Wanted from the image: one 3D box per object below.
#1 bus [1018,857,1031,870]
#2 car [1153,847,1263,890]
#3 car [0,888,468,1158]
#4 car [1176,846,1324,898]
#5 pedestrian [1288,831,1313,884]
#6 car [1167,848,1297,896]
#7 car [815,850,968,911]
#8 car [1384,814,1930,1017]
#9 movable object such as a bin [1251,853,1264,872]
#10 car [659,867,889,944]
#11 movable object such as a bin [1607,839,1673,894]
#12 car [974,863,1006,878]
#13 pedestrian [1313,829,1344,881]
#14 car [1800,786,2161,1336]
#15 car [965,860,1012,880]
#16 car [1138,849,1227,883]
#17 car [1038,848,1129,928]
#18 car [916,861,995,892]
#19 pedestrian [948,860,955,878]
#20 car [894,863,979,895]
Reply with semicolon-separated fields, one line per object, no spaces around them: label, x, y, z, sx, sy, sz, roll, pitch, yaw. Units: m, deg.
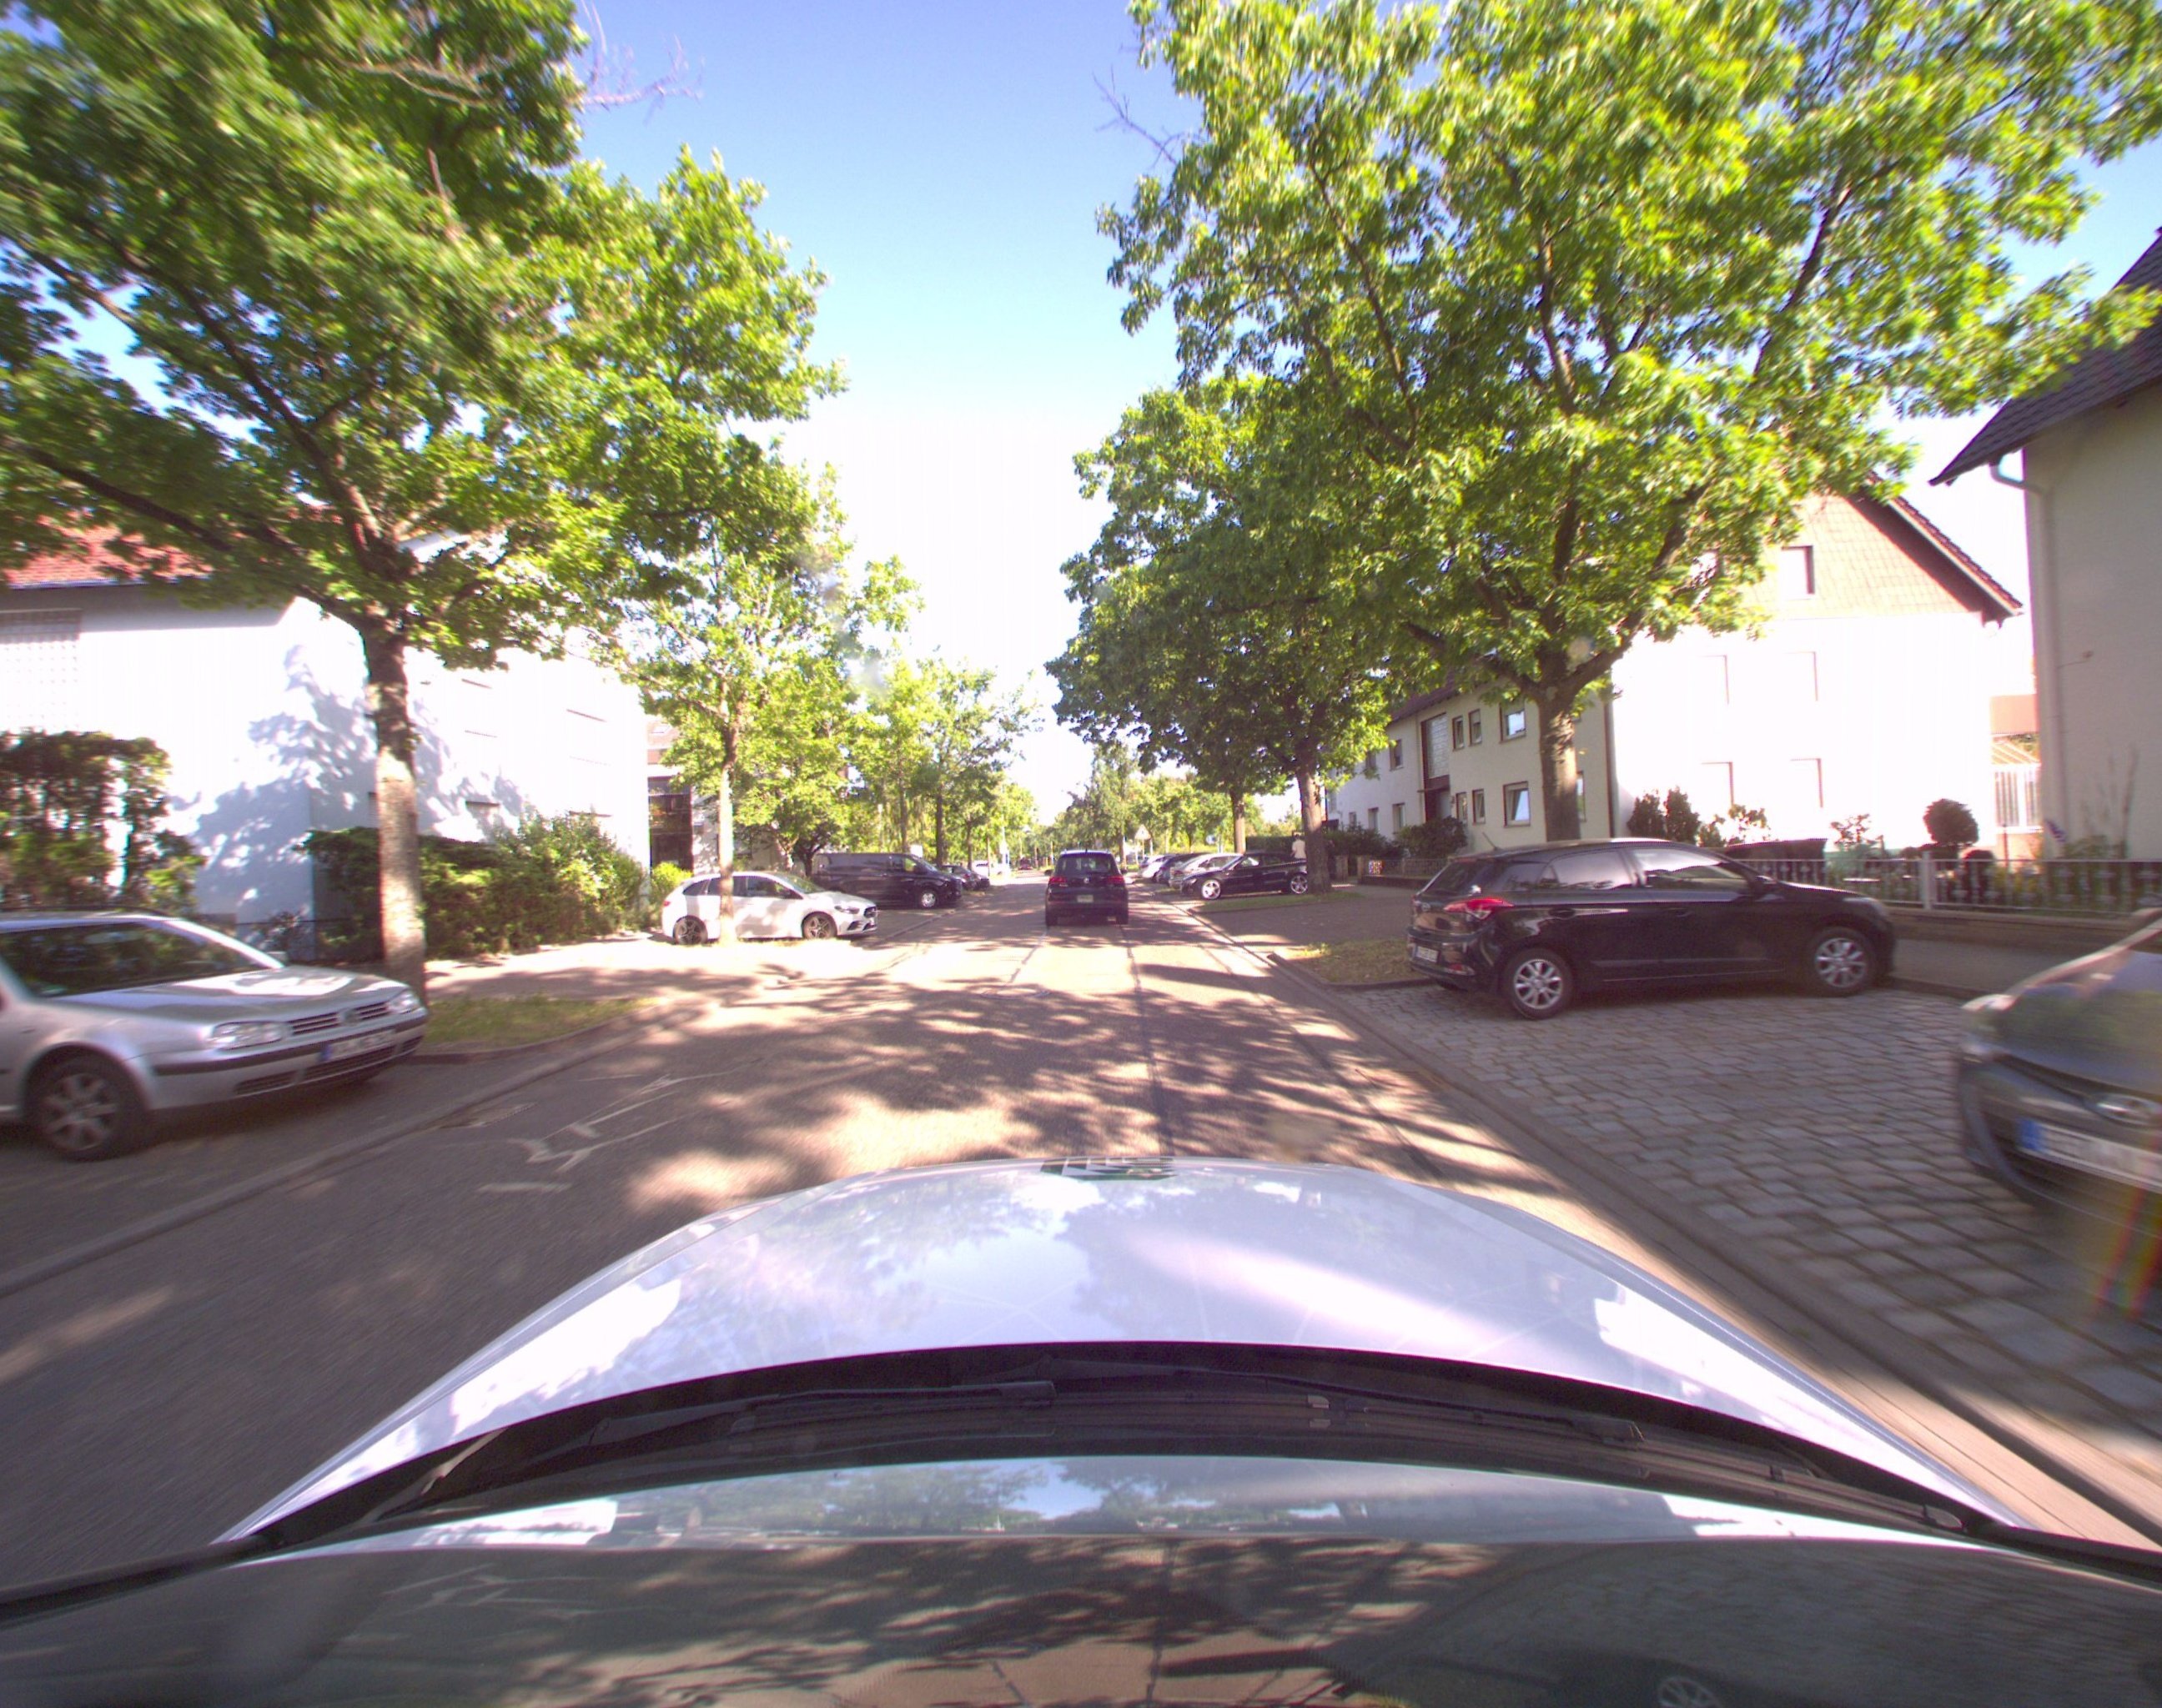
bus;-14.234;2.422;206.268;2.922;3.004;5.730;-3;-1;-3
car;5.228;0.577;33.929;4.261;1.503;1.797;-3;0;1
car;-7.008;1.105;5.693;4.167;1.492;1.647;-3;-1;1
car;5.348;0.582;26.154;4.331;1.363;1.873;-3;-1;0
pedestrian;7.971;0.137;29.610;0.605;1.873;0.924;-3;-1;3
car;5.307;0.614;28.963;4.261;1.414;1.797;-3;0;1
car;-6.457;0.885;28.137;4.765;1.917;2.018;-2;0;-1
car;5.102;0.530;7.640;3.867;1.516;1.661;-3;-1;1
movable object such as a bin;9.672;0.471;44.692;0.533;1.045;0.699;-3;0;-1
car;-6.525;1.081;17.650;4.260;1.478;1.769;-1;0;1
movable object such as a bin;11.630;0.261;16.967;0.701;1.099;0.906;-3;-1;0
car;-11.883;2.179;106.541;4.008;1.647;1.809;-3;0;-4
pedestrian;8.991;0.044;29.642;0.831;1.828;0.711;-3;-1;2
car;5.150;0.525;2.685;3.975;1.624;1.756;-3;-1;-1
car;-8.701;1.518;76.728;4.233;1.623;1.894;-3;-1;-4
car;5.273;0.608;42.680;4.413;1.491;1.797;-3;0;1
car;0.169;0.722;19.162;1.830;1.636;3.962;-2;0;4
car;-6.616;1.168;43.093;3.844;1.459;1.714;-2;0;1
pedestrian;-11.194;1.284;70.313;0.439;1.557;0.800;-3;0;-1
car;-7.069;1.218;40.102;3.808;1.419;1.771;-1;0;-1
